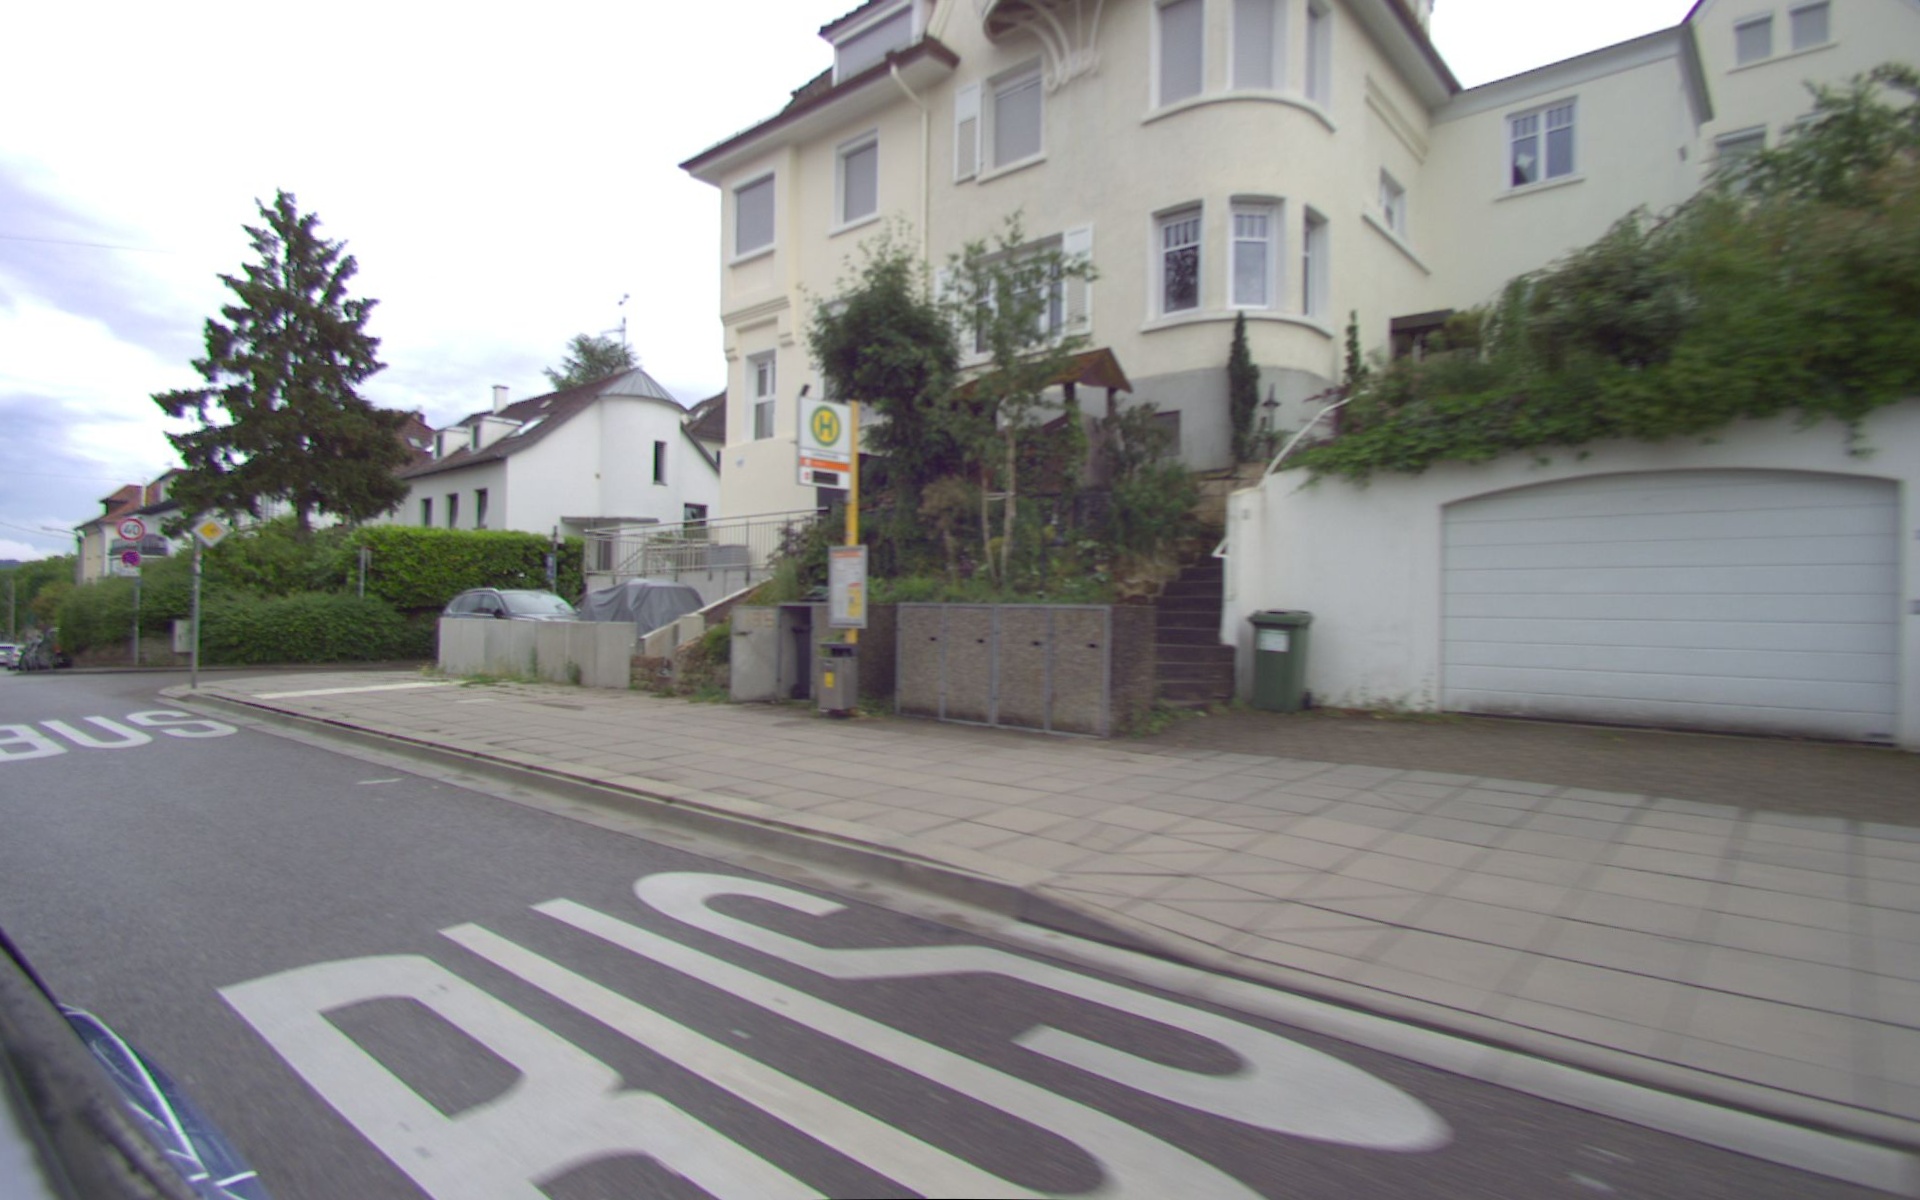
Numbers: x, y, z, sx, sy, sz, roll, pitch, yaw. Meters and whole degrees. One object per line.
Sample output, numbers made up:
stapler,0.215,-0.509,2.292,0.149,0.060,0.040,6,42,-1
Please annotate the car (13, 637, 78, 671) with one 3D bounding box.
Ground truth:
car,-44.151,2.601,48.834,4.399,1.502,1.675,-3,-1,40

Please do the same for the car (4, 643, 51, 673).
car,-50.825,3.173,55.151,3.436,1.502,1.573,-4,-1,42

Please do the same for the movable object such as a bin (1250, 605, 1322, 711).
movable object such as a bin,3.413,0.599,10.589,0.513,1.066,0.567,-3,-2,41

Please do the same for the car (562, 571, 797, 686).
car,-4.769,0.500,16.998,3.993,1.709,1.749,-3,-2,37

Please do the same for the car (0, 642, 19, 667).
car,-60.389,3.409,63.448,4.001,1.512,1.843,-3,-2,44

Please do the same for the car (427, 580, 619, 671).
car,-8.659,0.525,19.937,3.993,1.630,1.749,-3,-2,37

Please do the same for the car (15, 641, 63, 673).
car,-47.408,2.934,52.071,2.893,1.502,1.502,-3,-1,42

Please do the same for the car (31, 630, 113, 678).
car,-39.567,2.403,45.046,4.769,1.972,1.974,-3,-1,39
